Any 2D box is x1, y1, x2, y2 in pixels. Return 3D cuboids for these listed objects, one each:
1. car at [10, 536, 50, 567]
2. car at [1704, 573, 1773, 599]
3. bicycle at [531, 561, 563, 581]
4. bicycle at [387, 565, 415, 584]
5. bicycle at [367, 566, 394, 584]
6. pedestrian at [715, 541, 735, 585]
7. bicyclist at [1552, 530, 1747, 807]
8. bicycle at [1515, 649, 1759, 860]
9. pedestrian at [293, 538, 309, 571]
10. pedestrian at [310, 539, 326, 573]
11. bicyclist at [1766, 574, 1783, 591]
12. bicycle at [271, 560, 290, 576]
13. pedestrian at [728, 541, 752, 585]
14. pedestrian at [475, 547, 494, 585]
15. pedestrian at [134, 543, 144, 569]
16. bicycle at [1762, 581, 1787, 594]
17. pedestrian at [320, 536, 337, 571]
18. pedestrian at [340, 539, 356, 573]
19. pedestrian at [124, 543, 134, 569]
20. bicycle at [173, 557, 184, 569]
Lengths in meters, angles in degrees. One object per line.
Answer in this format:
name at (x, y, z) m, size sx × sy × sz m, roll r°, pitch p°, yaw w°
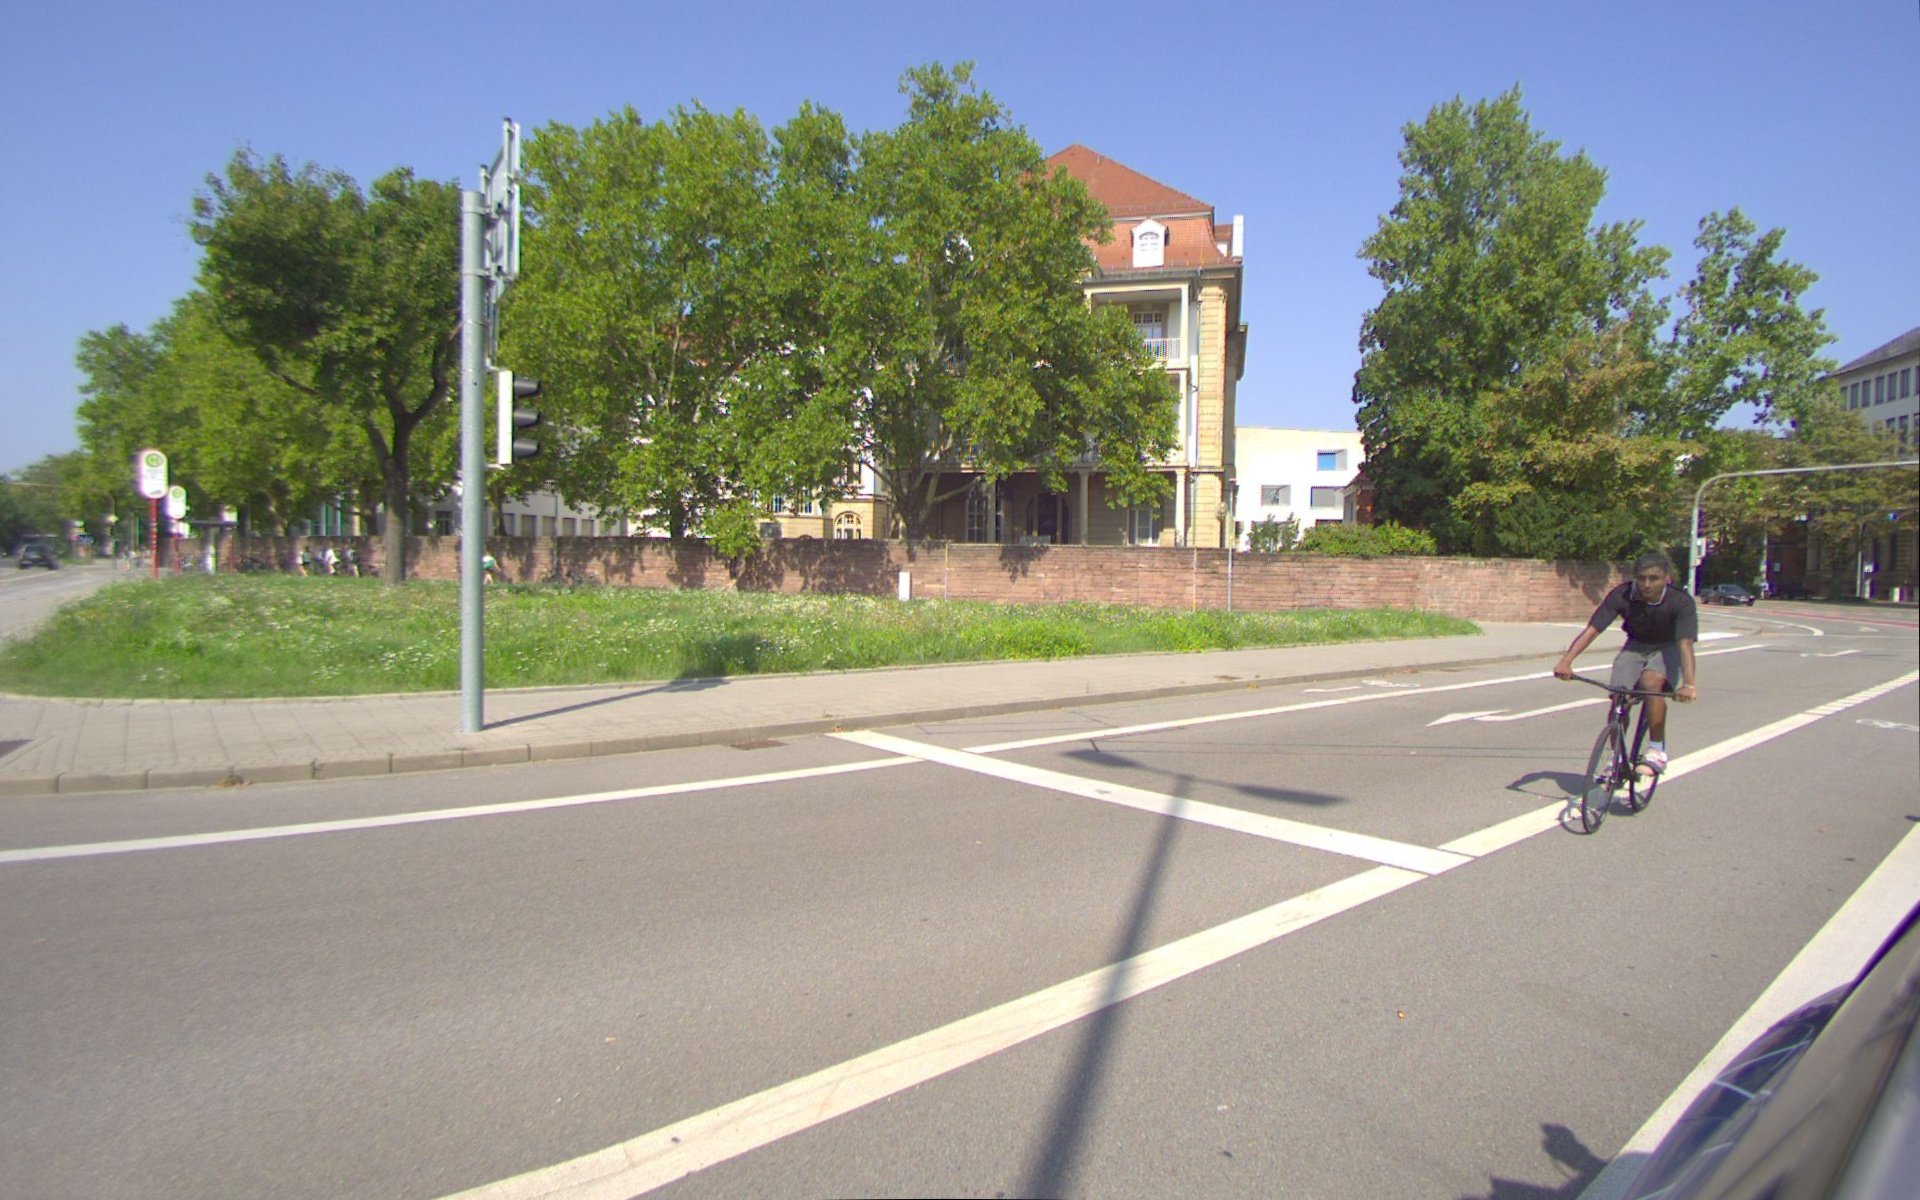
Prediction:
car at (-66.759, -3.481, 72.644) m, size 3.987 × 2.039 × 1.889 m, roll 0°, pitch 0°, yaw 44°
car at (51.639, -0.960, 67.239) m, size 1.970 × 1.630 × 4.231 m, roll 1°, pitch 1°, yaw 13°
bicycle at (-18.154, -1.296, 44.476) m, size 1.535 × 0.845 × 0.430 m, roll 2°, pitch 2°, yaw 26°
bicycle at (-27.212, -1.248, 49.257) m, size 1.536 × 0.845 × 0.429 m, roll 2°, pitch 2°, yaw 29°
bicycle at (-28.676, -1.241, 50.103) m, size 1.536 × 0.845 × 0.429 m, roll 2°, pitch 2°, yaw 29°
pedestrian at (-9.161, -1.434, 39.514) m, size 0.587 × 1.672 × 0.480 m, roll -1°, pitch 0°, yaw 21°
bicyclist at (4.392, 0.375, 6.443) m, size 0.973 × 1.598 × 0.773 m, roll -1°, pitch 2°, yaw -42°
bicycle at (4.376, 0.885, 6.466) m, size 2.113 × 0.988 × 0.773 m, roll -1°, pitch 3°, yaw -42°
pedestrian at (-32.833, -2.262, 50.422) m, size 0.498 × 1.591 × 0.529 m, roll -1°, pitch 0°, yaw 31°
pedestrian at (-32.485, -2.226, 51.217) m, size 0.590 × 1.672 × 0.477 m, roll -1°, pitch 0°, yaw 34°
bicyclist at (66.048, -1.422, 82.079) m, size 0.656 × 1.356 × 0.922 m, roll 1°, pitch 2°, yaw 12°
bicycle at (-37.832, -1.780, 56.360) m, size 1.542 × 0.845 × 0.428 m, roll 3°, pitch 3°, yaw 38°
pedestrian at (-8.712, -1.454, 40.018) m, size 0.709 × 1.704 × 0.591 m, roll 1°, pitch 2°, yaw 19°
pedestrian at (-20.904, -1.498, 44.468) m, size 0.589 × 1.672 × 0.478 m, roll -1°, pitch 0°, yaw 29°
pedestrian at (-56.697, -3.007, 69.892) m, size 0.477 × 1.762 × 0.504 m, roll 0°, pitch 0°, yaw -41°
bicycle at (66.058, -1.019, 82.131) m, size 0.656 × 0.968 × 2.081 m, roll 1°, pitch 2°, yaw 11°
pedestrian at (-30.534, -2.225, 48.924) m, size 0.590 × 1.672 × 0.513 m, roll -1°, pitch 0°, yaw 34°
pedestrian at (-30.115, -2.148, 49.804) m, size 0.590 × 1.672 × 0.477 m, roll -1°, pitch 0°, yaw 34°
pedestrian at (-57.142, -3.000, 69.583) m, size 0.477 × 1.762 × 0.504 m, roll 0°, pitch 0°, yaw -41°
bicycle at (-55.252, -2.629, 71.583) m, size 0.427 × 0.845 × 1.546 m, roll -1°, pitch 3°, yaw -45°
